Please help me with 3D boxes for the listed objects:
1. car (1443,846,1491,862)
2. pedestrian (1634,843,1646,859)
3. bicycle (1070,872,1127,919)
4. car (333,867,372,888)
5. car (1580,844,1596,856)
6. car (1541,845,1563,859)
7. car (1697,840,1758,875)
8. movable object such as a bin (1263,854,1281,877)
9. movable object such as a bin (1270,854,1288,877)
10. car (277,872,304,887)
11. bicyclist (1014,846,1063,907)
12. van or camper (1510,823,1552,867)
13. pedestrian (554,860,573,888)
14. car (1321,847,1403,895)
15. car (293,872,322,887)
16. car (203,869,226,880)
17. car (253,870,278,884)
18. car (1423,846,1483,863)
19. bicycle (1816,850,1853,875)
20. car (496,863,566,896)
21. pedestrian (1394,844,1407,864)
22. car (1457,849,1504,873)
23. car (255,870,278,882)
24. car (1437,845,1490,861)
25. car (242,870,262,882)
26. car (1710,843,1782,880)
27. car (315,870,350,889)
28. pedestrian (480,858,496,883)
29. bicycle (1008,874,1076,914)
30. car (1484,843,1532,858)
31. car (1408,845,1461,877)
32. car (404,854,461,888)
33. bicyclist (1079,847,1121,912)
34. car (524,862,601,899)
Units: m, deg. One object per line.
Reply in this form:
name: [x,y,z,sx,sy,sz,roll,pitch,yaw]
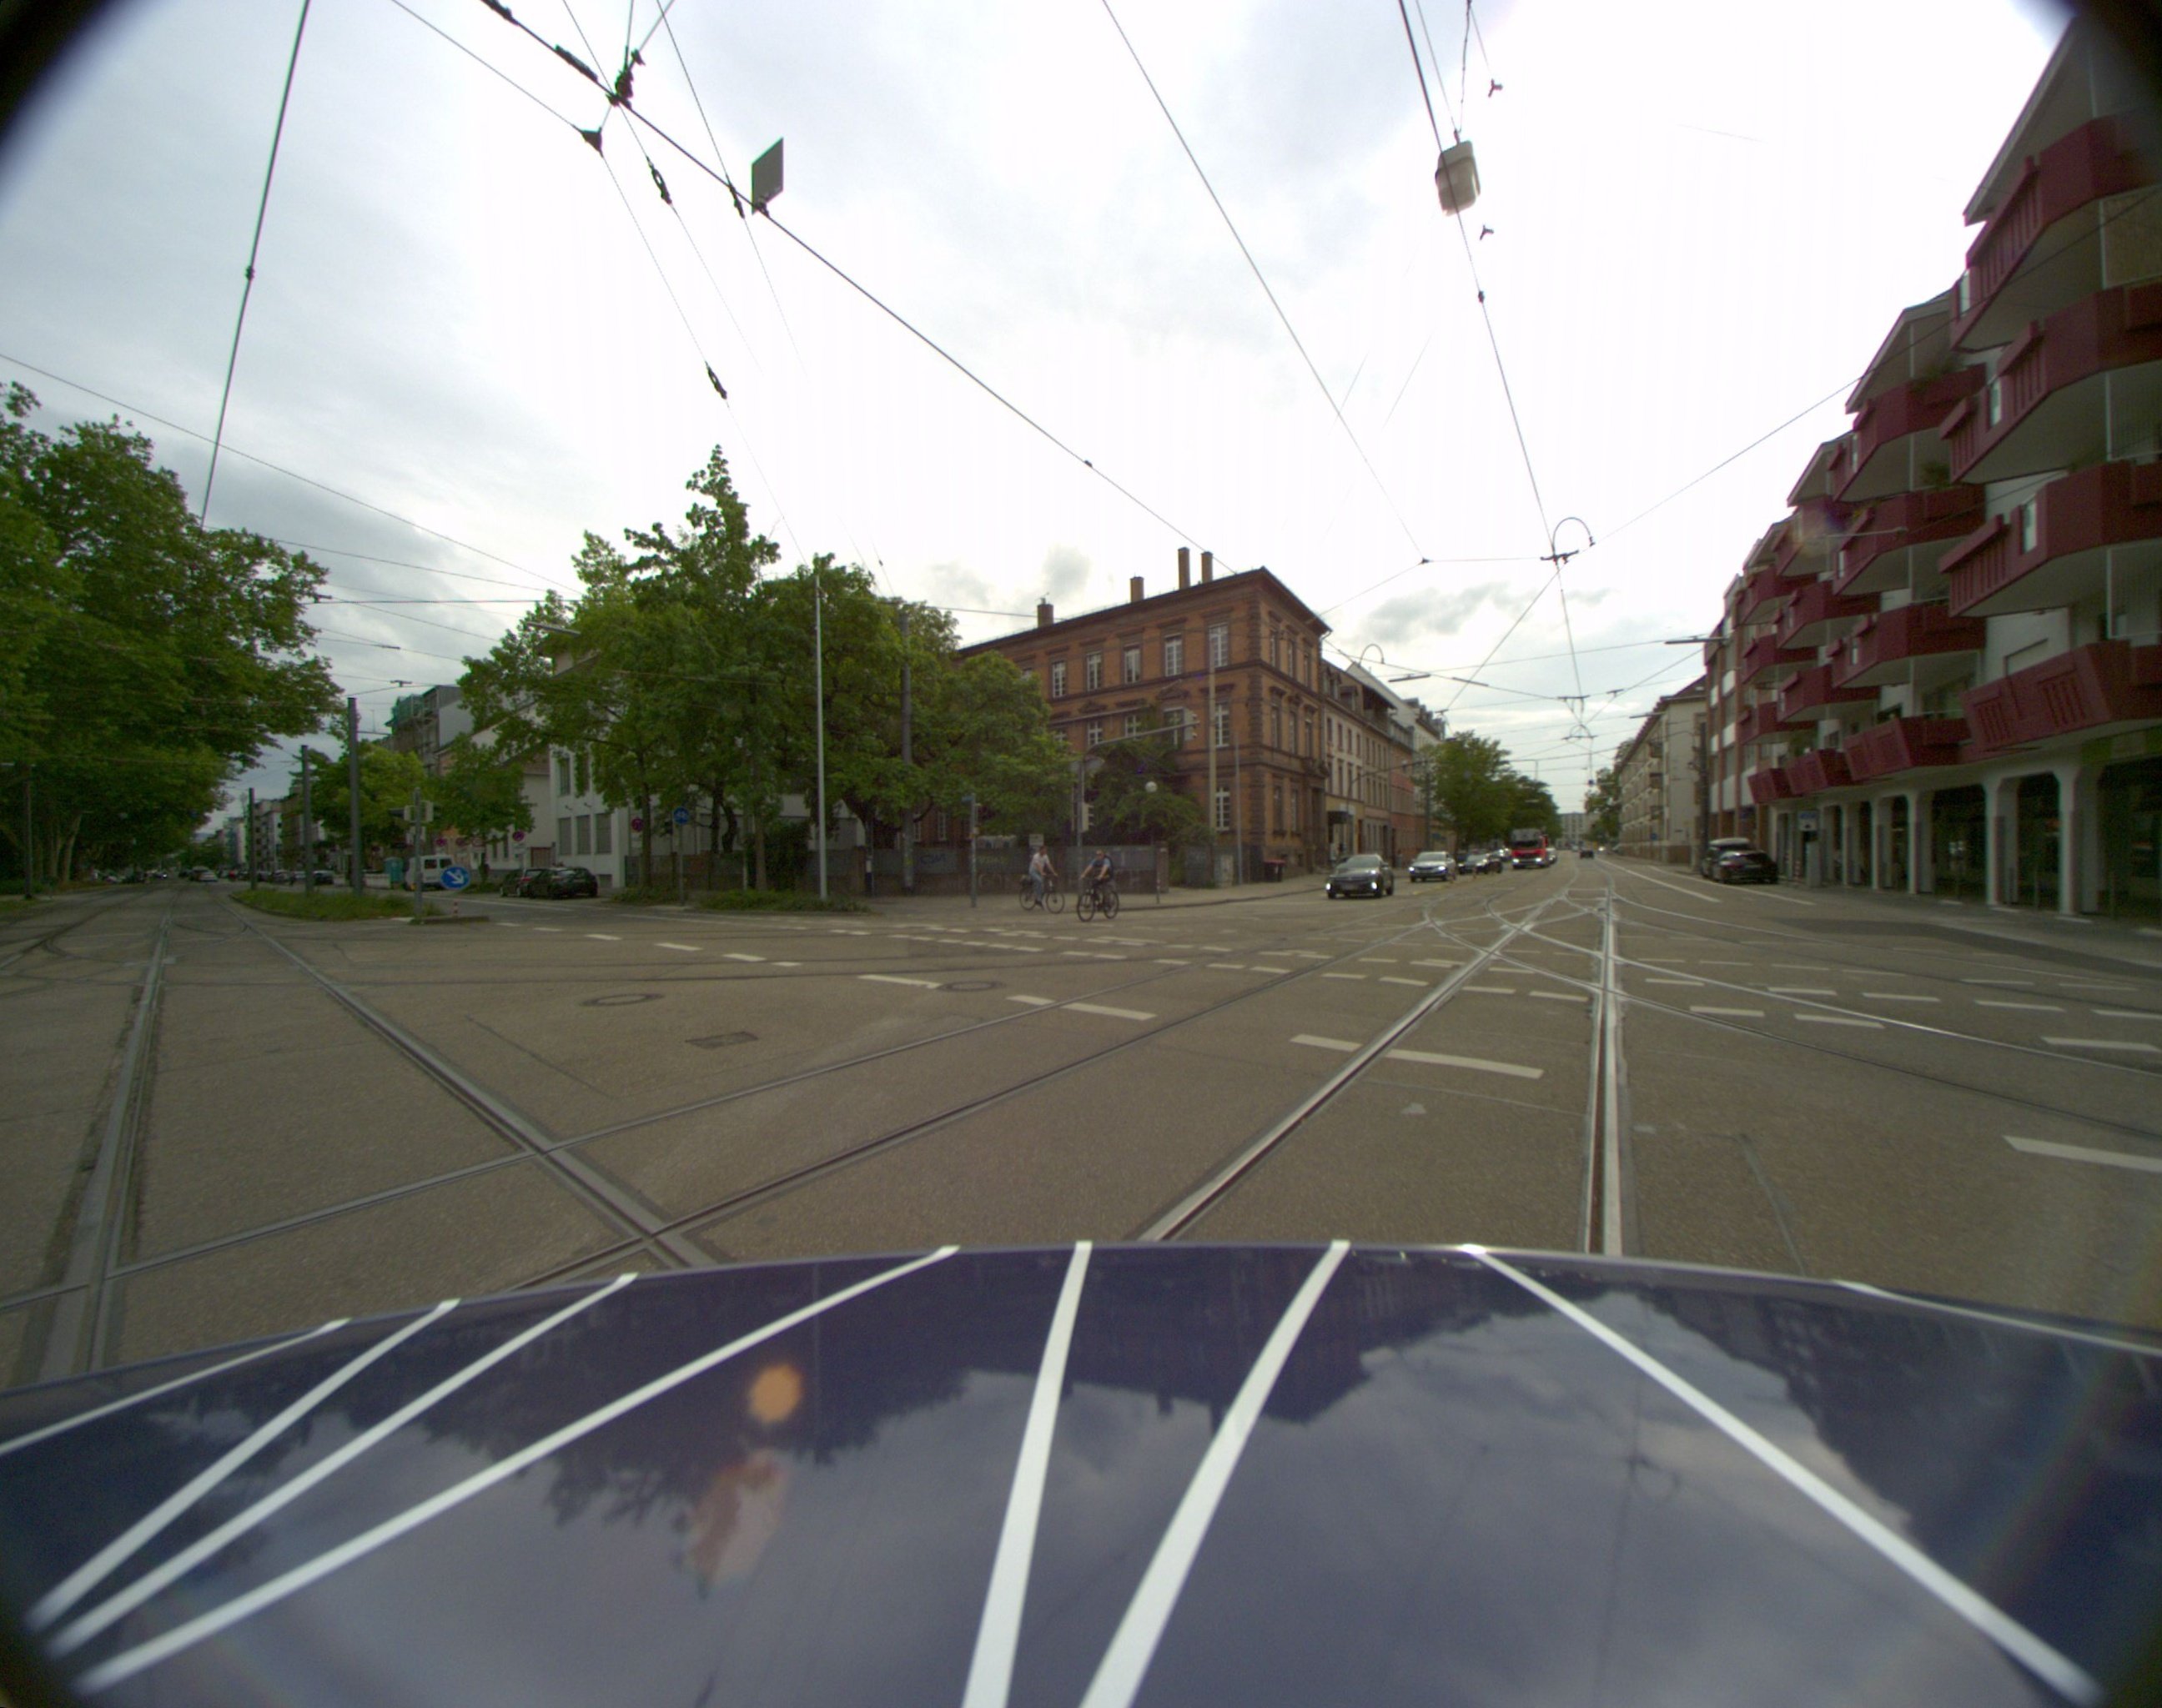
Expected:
car: [41.459,0.006,81.658,4.233,1.689,1.741,1,1,10]
pedestrian: [65.816,-0.388,89.511,0.998,1.831,1.021,0,1,26]
bicycle: [0.436,0.947,17.894,0.713,1.012,1.803,0,0,23]
car: [-68.086,2.146,71.025,4.408,1.797,2.102,-1,0,40]
car: [73.204,-0.594,109.607,1.770,1.528,4.057,-2,-1,35]
car: [50.303,-0.223,81.064,1.907,1.478,4.008,0,1,33]
car: [32.815,0.143,38.684,1.808,1.637,4.707,-3,-1,34]
movable object such as a bin: [9.419,0.573,37.405,0.651,1.076,0.679,4,4,30]
movable object such as a bin: [9.882,0.550,37.956,0.663,1.076,0.702,4,4,30]
car: [-104.384,3.378,100.295,4.408,1.797,2.102,-1,0,40]
bicyclist: [-1.252,0.643,22.283,1.249,1.750,0.749,0,1,40]
van or camper: [38.039,-0.723,64.029,2.602,3.401,9.672,0,0,33]
pedestrian: [-31.092,1.213,45.642,0.763,1.641,0.770,0,1,41]
car: [10.080,0.565,27.071,1.770,1.538,4.290,-2,-1,33]
car: [-94.849,3.117,93.152,4.408,1.797,2.102,-1,0,40]
car: [-129.144,3.038,113.197,3.737,1.483,1.851,-2,0,36]
car: [-114.865,3.192,107.006,4.408,1.855,2.102,-1,0,40]
car: [33.907,0.039,69.344,4.621,1.464,1.791,1,1,10]
bicycle: [29.862,0.328,30.146,0.564,0.948,1.653,0,1,27]
car: [-27.441,1.235,37.849,4.408,1.527,1.764,-1,0,40]
pedestrian: [26.664,-0.019,63.434,0.730,1.679,0.928,4,3,33]
car: [26.929,0.446,51.130,1.770,1.526,4.057,-2,-1,43]
car: [-124.191,3.338,115.823,4.408,1.855,2.102,-1,0,41]
car: [37.847,-0.131,75.333,4.338,1.471,1.791,1,1,10]
car: [-144.548,3.829,132.496,4.408,1.855,2.102,-1,0,40]
car: [29.588,0.292,33.931,1.755,1.471,4.707,-3,-1,34]
car: [-76.442,2.562,77.603,4.408,1.797,2.102,-1,0,40]
pedestrian: [-42.424,1.200,54.355,0.763,1.771,0.770,0,1,40]
bicycle: [-1.167,1.147,22.238,2.010,1.080,0.752,0,1,40]
car: [51.328,-0.439,91.393,4.621,1.689,1.918,1,1,10]
car: [19.240,0.349,41.307,1.770,1.581,4.291,-2,-1,36]
car: [-43.088,1.094,50.467,4.408,2.177,2.102,-1,0,40]
bicyclist: [0.459,0.583,17.964,0.714,1.498,0.920,0,1,23]
car: [-23.706,1.164,34.678,4.408,1.552,1.740,-1,0,40]
